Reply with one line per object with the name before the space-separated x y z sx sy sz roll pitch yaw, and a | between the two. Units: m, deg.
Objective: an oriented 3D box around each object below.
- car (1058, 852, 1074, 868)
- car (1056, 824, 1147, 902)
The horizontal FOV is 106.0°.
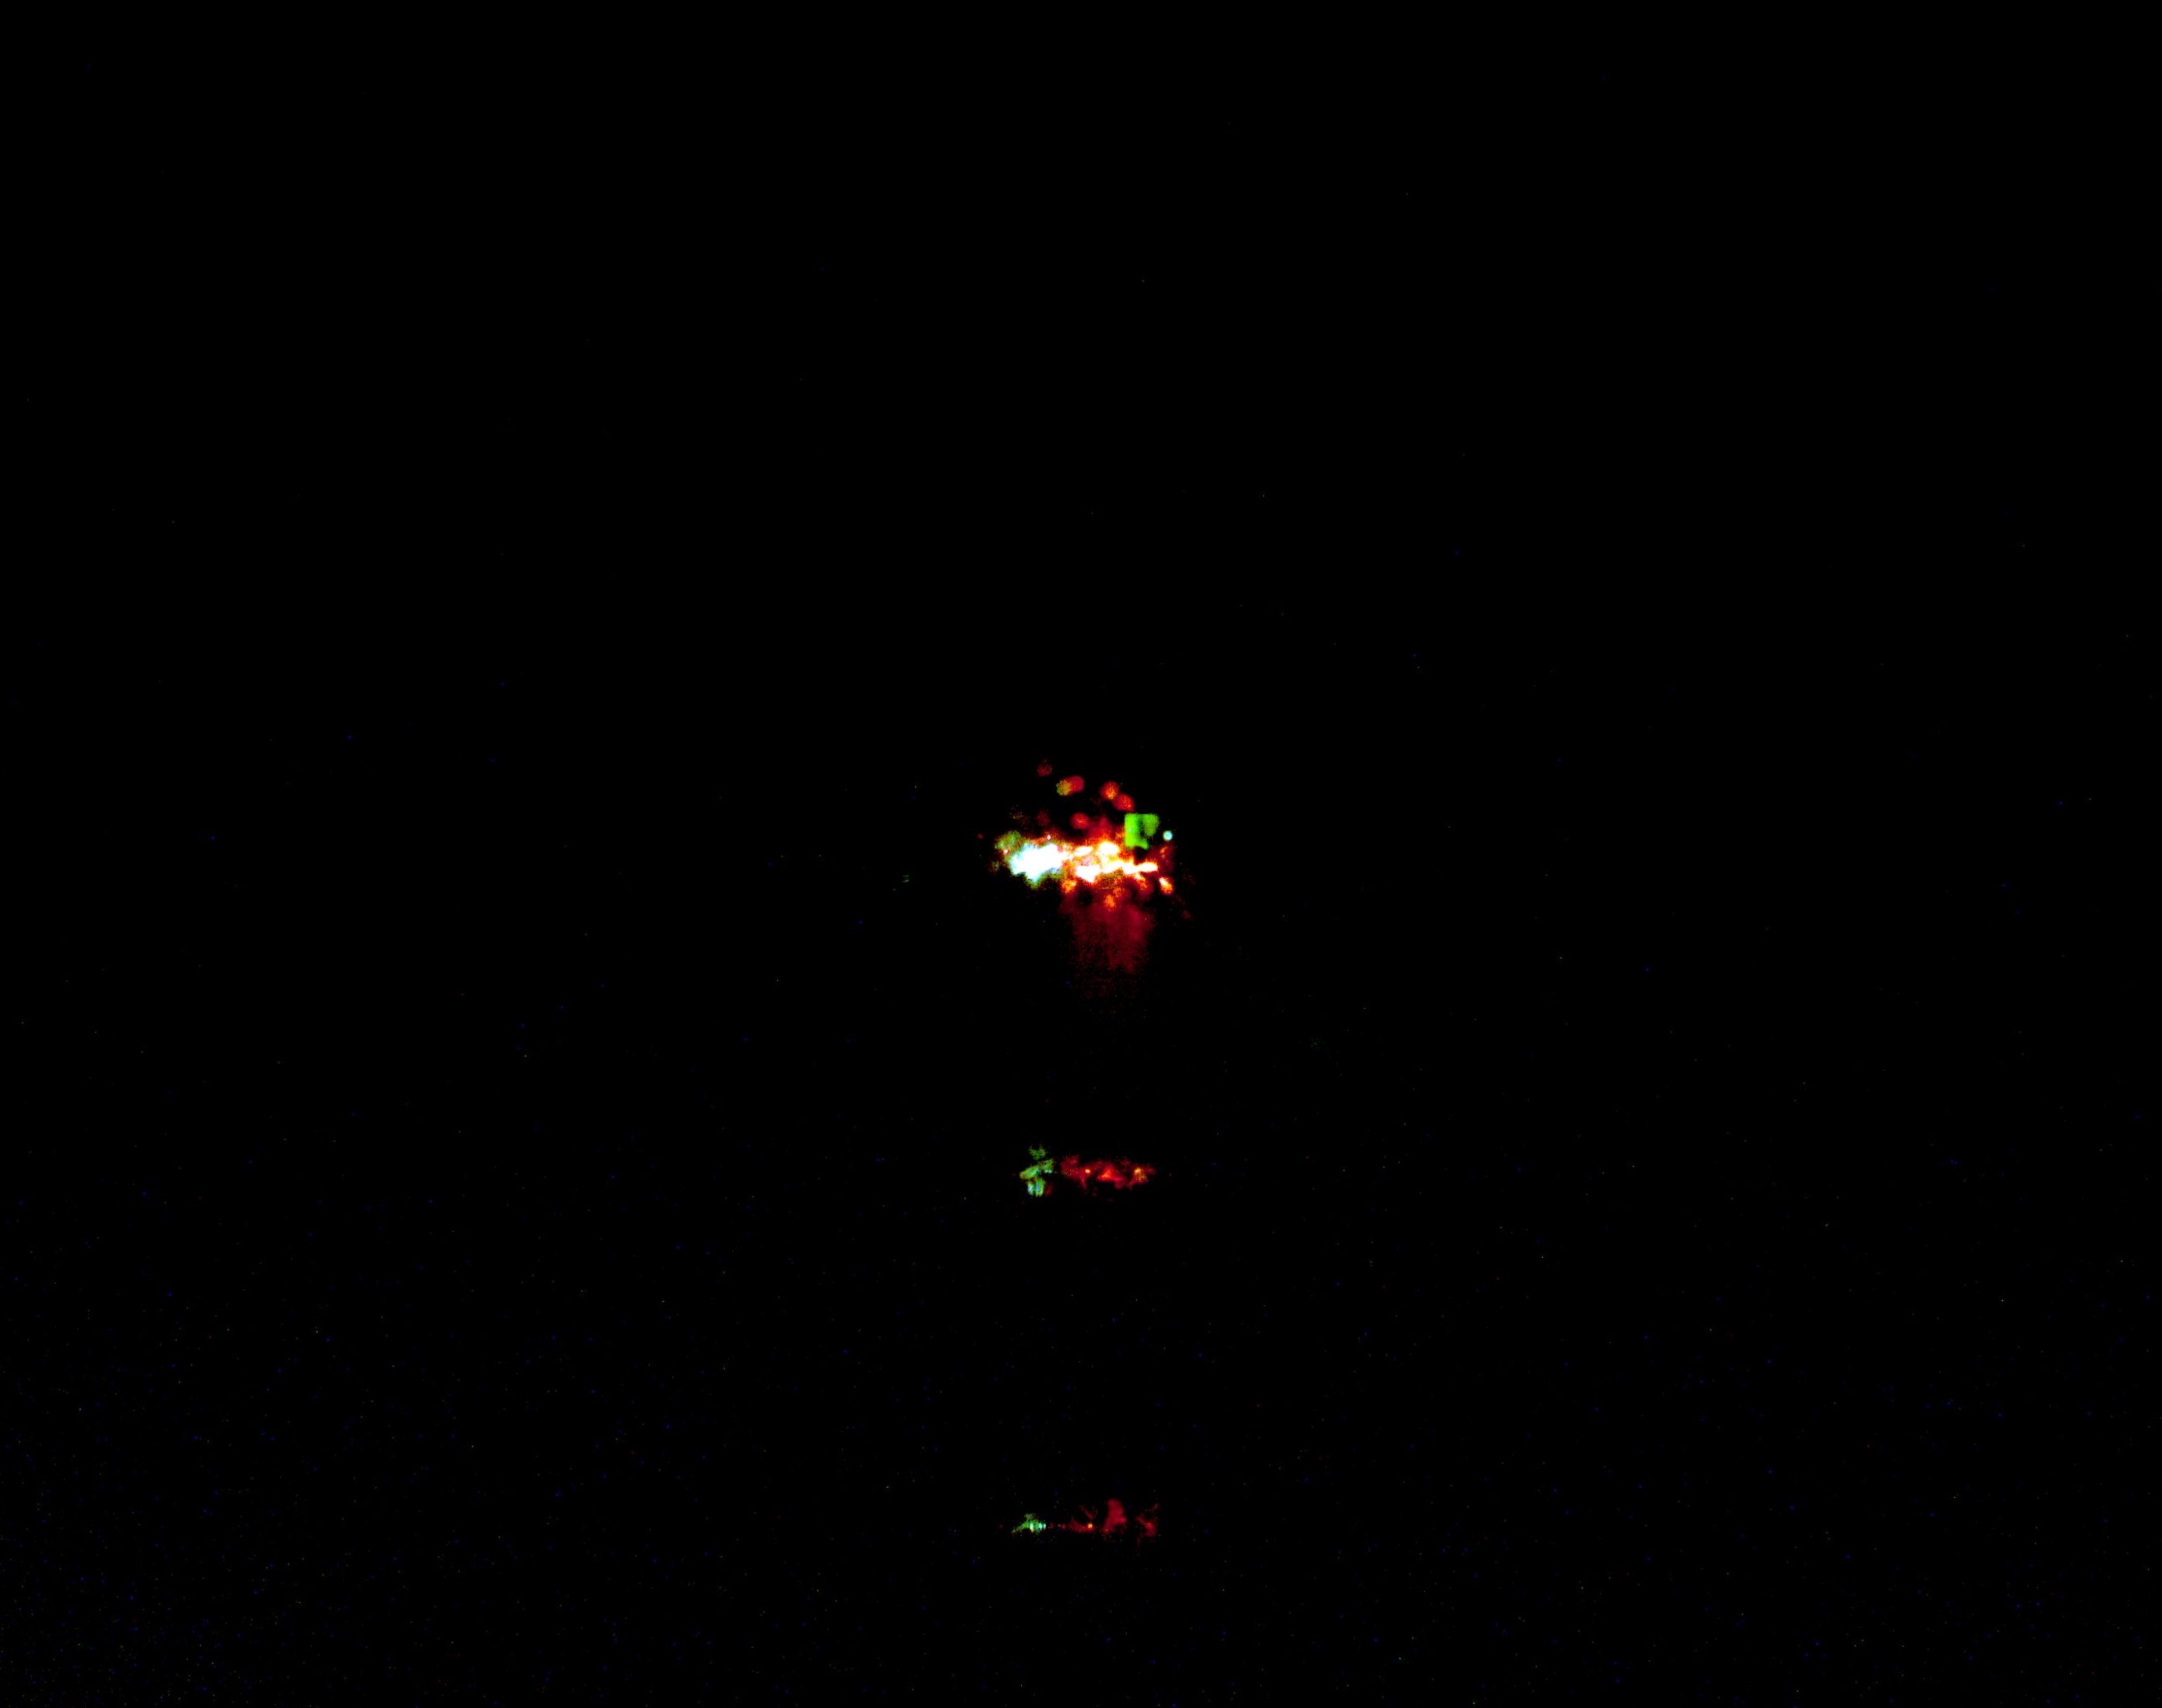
car | -1.856 0.750 104.581 1.988 1.915 3.998 1 0 -1
car | 0.657 0.273 27.483 2.706 2.307 6.101 -1 0 1
